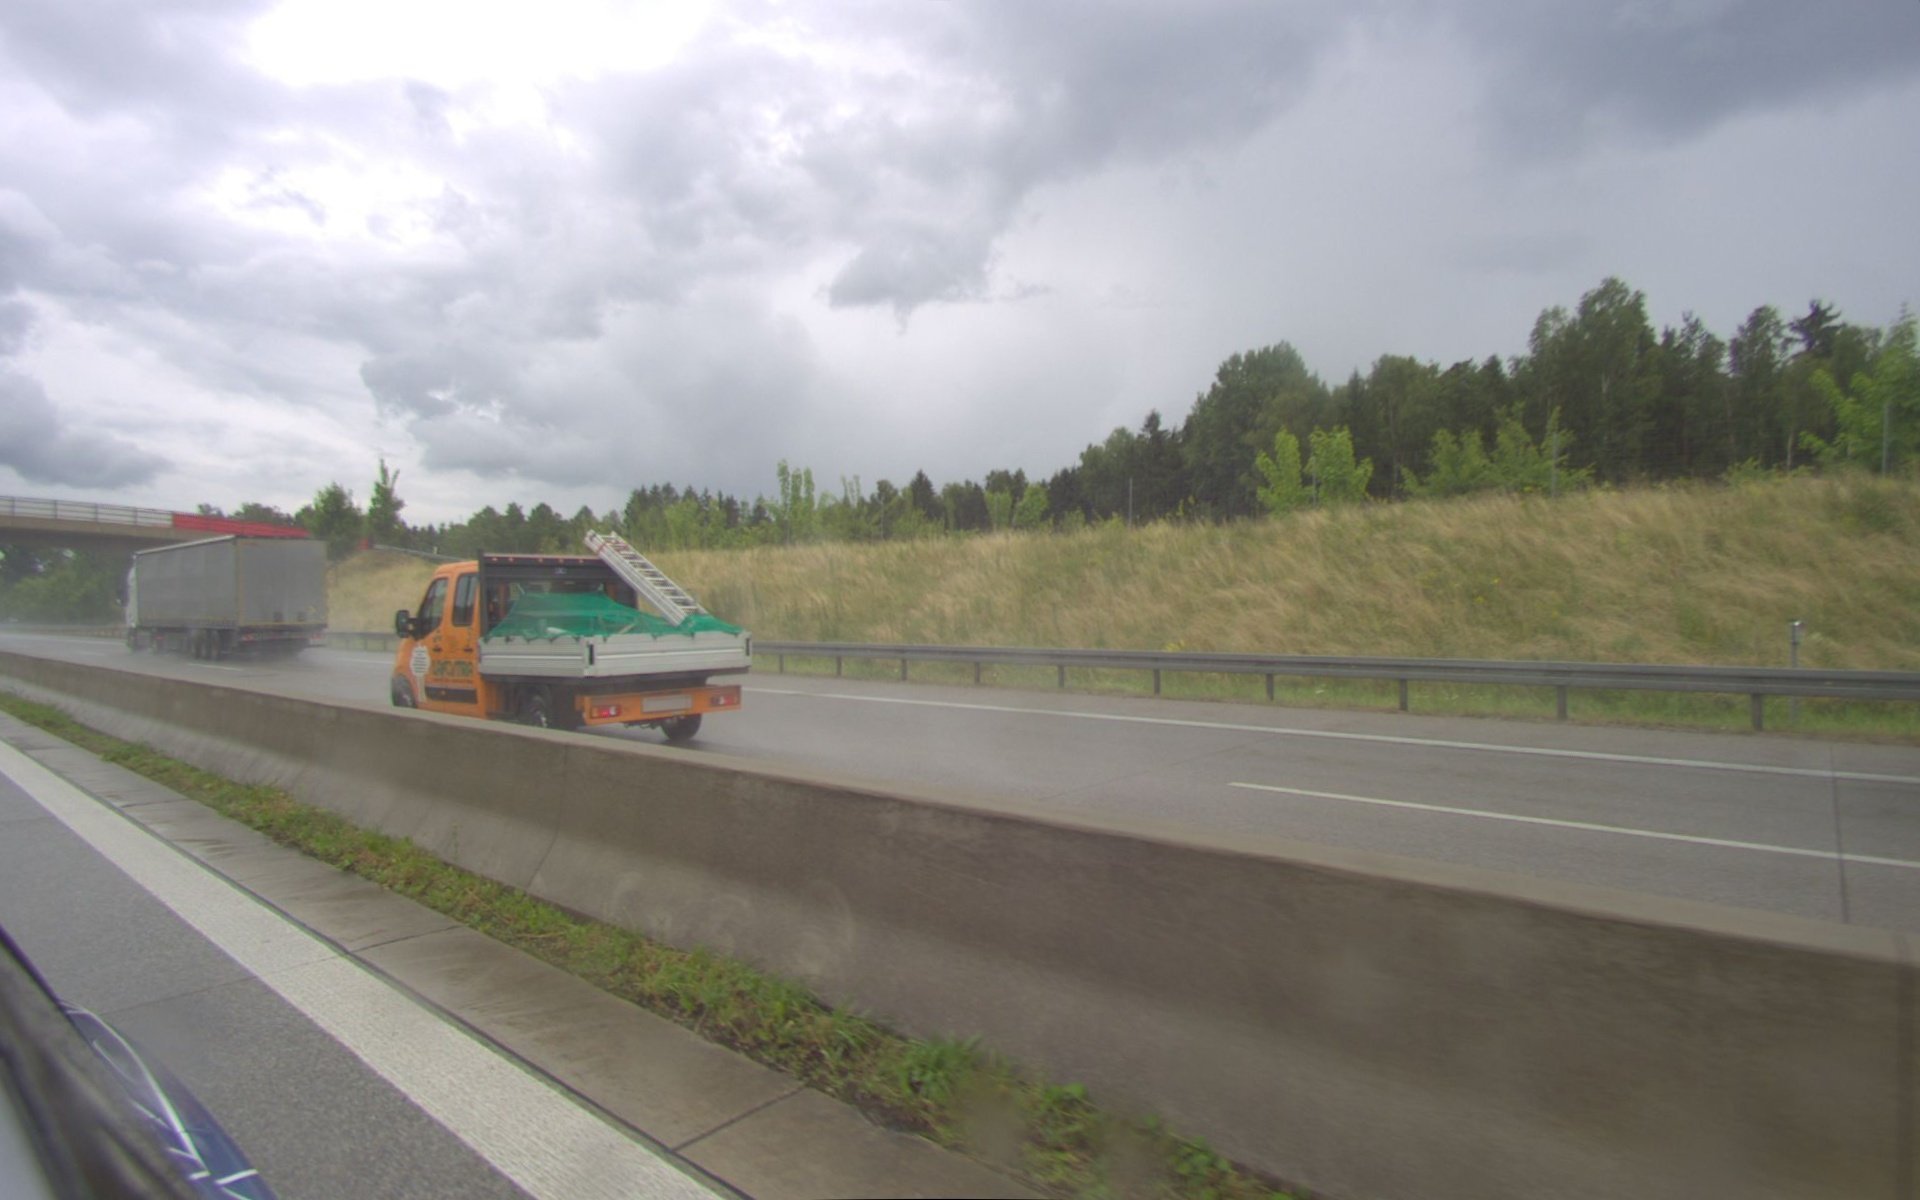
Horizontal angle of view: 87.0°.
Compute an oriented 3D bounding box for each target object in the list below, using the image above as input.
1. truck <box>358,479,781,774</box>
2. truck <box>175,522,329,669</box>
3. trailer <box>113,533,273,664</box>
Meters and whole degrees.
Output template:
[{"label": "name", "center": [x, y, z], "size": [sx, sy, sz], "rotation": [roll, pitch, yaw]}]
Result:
[{"label": "truck", "center": [-5.075, 0.303, 12.528], "size": [6.158, 2.803, 2.308], "rotation": [-1, -1, 41]}, {"label": "truck", "center": [-24.251, -0.106, 34.545], "size": [6.621, 4.555, 2.791], "rotation": [-1, 0, 41]}, {"label": "trailer", "center": [-30.562, 0.031, 40.060], "size": [11.333, 4.555, 2.818], "rotation": [-1, 0, 41]}]
